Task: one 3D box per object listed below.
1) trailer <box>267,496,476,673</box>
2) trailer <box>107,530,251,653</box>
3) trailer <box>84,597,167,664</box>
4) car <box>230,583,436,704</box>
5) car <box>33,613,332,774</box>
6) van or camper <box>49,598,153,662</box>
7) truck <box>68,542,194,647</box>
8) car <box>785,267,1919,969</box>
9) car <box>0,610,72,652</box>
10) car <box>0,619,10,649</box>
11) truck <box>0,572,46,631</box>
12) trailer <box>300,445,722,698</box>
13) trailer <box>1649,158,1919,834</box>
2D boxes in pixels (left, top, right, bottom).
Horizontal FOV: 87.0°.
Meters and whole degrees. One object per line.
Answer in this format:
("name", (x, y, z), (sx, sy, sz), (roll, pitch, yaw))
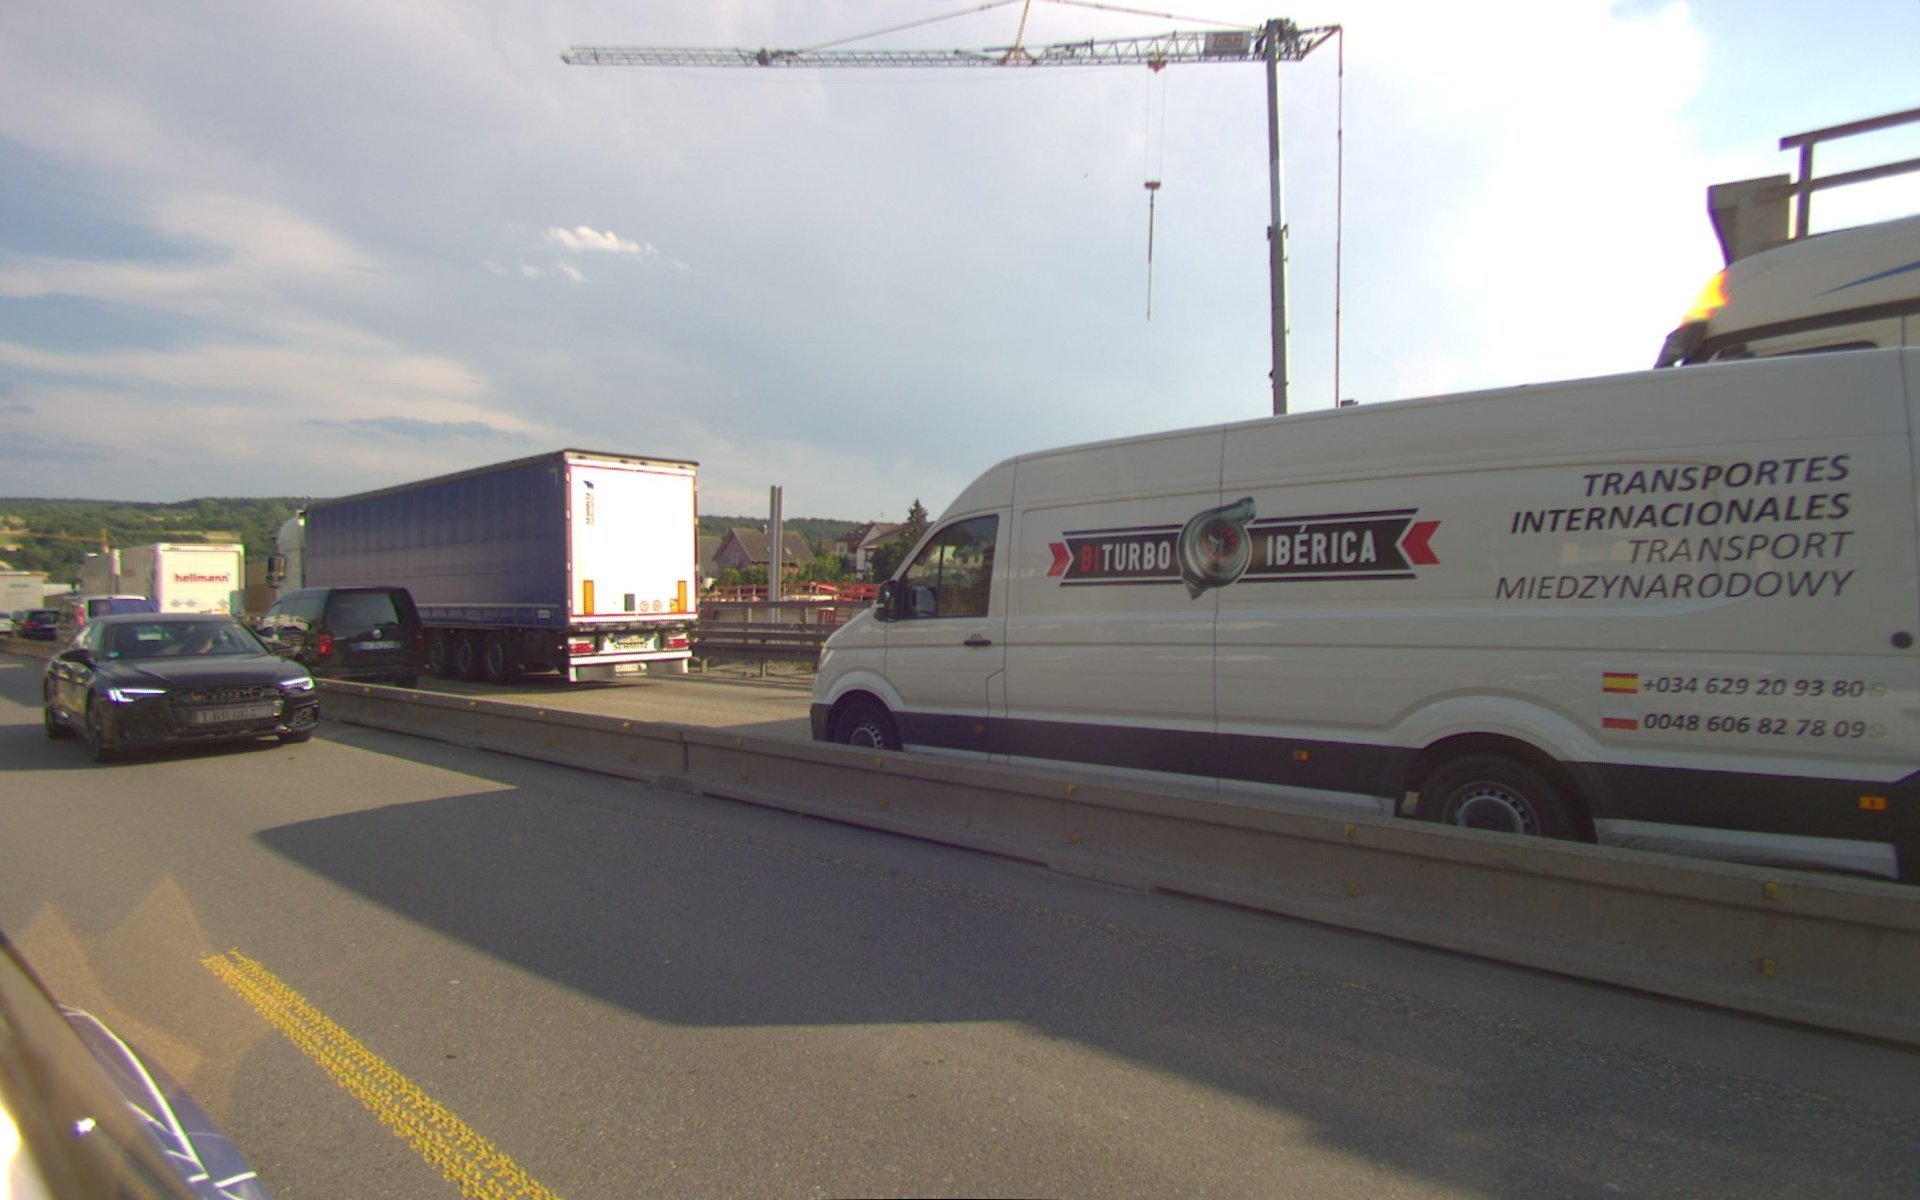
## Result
("trailer", (-15.464, -0.348, 26.417), (6.220, 4.067, 2.895), (-1, 0, 42))
("trailer", (-30.558, -0.280, 39.444), (8.732, 4.315, 2.798), (-1, 0, 41))
("trailer", (-24.724, 0.875, 29.957), (2.983, 1.868, 1.433), (-1, 0, 41))
("car", (-11.207, 0.688, 17.941), (4.851, 1.857, 1.762), (-1, 0, 41))
("car", (-8.771, 0.877, 11.275), (4.347, 1.430, 1.849), (-1, -1, 41))
("van or camper", (-27.744, 0.916, 32.617), (5.001, 1.906, 1.844), (-1, 0, 41))
("truck", (-37.581, -0.199, 45.690), (10.068, 4.295, 2.798), (-1, 0, 41))
("car", (2.015, 0.086, 6.533), (7.407, 2.642, 1.973), (-1, 0, 41))
("car", (-38.294, 1.244, 41.850), (3.998, 1.586, 1.837), (-1, 0, 41))
("car", (-51.049, 1.760, 52.758), (3.998, 1.519, 1.864), (-1, 0, 41))
("truck", (-68.947, 0.110, 73.542), (7.595, 4.092, 2.836), (-1, 0, 41))
("trailer", (-10.463, -0.415, 21.937), (13.769, 4.067, 2.895), (-1, 0, 42))
("trailer", (7.824, -0.635, 5.546), (6.425, 3.879, 2.625), (-1, 0, 41))
